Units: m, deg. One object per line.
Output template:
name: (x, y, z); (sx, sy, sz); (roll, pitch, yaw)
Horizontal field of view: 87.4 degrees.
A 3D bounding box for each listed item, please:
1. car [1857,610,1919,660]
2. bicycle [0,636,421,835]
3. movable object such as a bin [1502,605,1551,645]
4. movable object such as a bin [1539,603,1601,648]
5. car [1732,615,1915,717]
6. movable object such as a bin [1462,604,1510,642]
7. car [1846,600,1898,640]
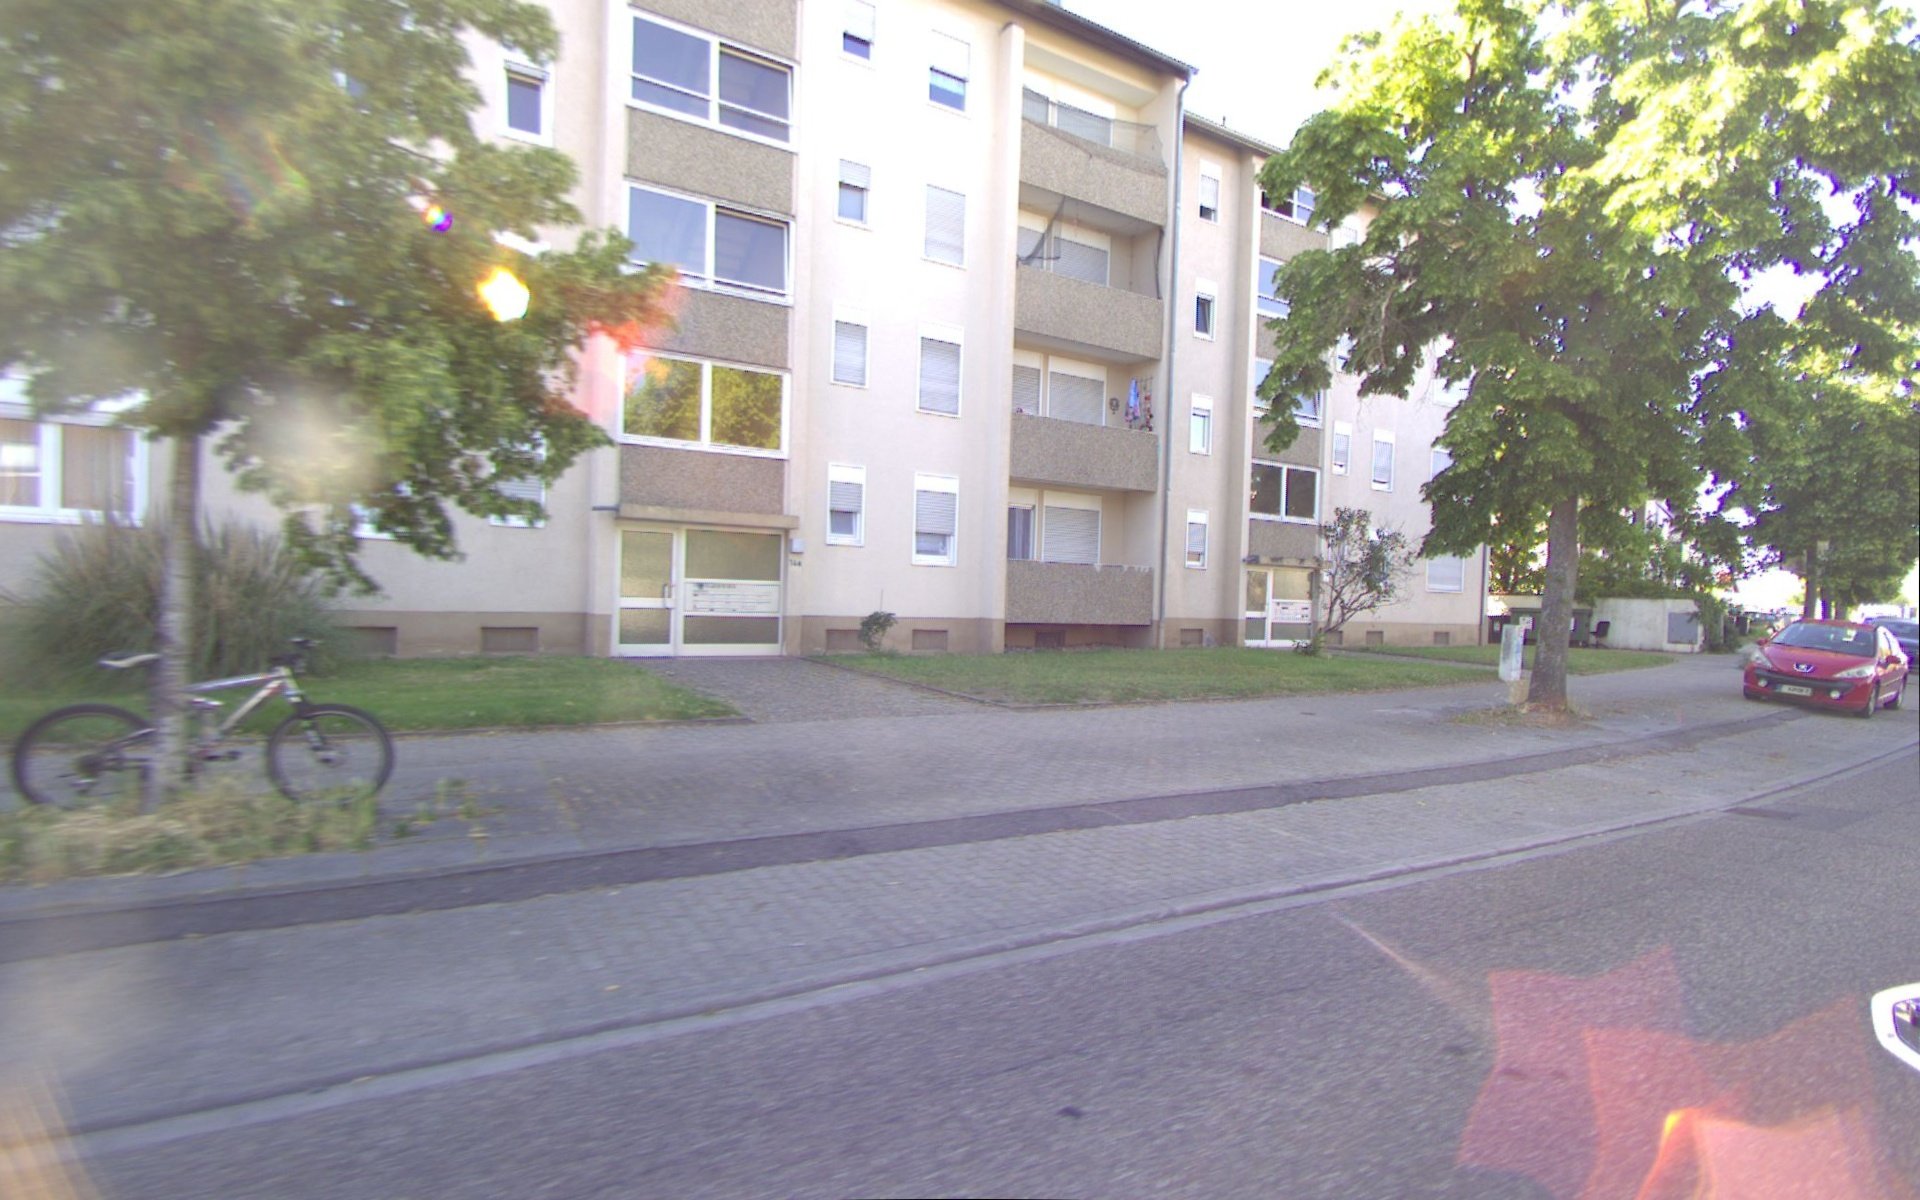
car: (37.566, 1.389, 40.072); (4.254, 1.652, 1.820); (2, 7, -39)
bicycle: (-4.060, 0.705, 5.543); (1.858, 0.982, 0.366); (1, 0, -23)
movable object such as a bin: (20.231, 0.879, 35.852); (1.078, 1.339, 1.163); (4, -1, -38)
movable object such as a bin: (21.072, 0.883, 34.735); (1.078, 1.446, 1.506); (4, -1, -37)
car: (15.320, 1.094, 17.751); (4.254, 1.511, 1.675); (2, 1, -39)
movable object such as a bin: (19.352, 0.847, 36.962); (1.078, 1.339, 1.163); (4, -1, -38)
car: (57.818, 1.273, 63.678); (4.262, 2.199, 1.887); (1, 8, -44)
